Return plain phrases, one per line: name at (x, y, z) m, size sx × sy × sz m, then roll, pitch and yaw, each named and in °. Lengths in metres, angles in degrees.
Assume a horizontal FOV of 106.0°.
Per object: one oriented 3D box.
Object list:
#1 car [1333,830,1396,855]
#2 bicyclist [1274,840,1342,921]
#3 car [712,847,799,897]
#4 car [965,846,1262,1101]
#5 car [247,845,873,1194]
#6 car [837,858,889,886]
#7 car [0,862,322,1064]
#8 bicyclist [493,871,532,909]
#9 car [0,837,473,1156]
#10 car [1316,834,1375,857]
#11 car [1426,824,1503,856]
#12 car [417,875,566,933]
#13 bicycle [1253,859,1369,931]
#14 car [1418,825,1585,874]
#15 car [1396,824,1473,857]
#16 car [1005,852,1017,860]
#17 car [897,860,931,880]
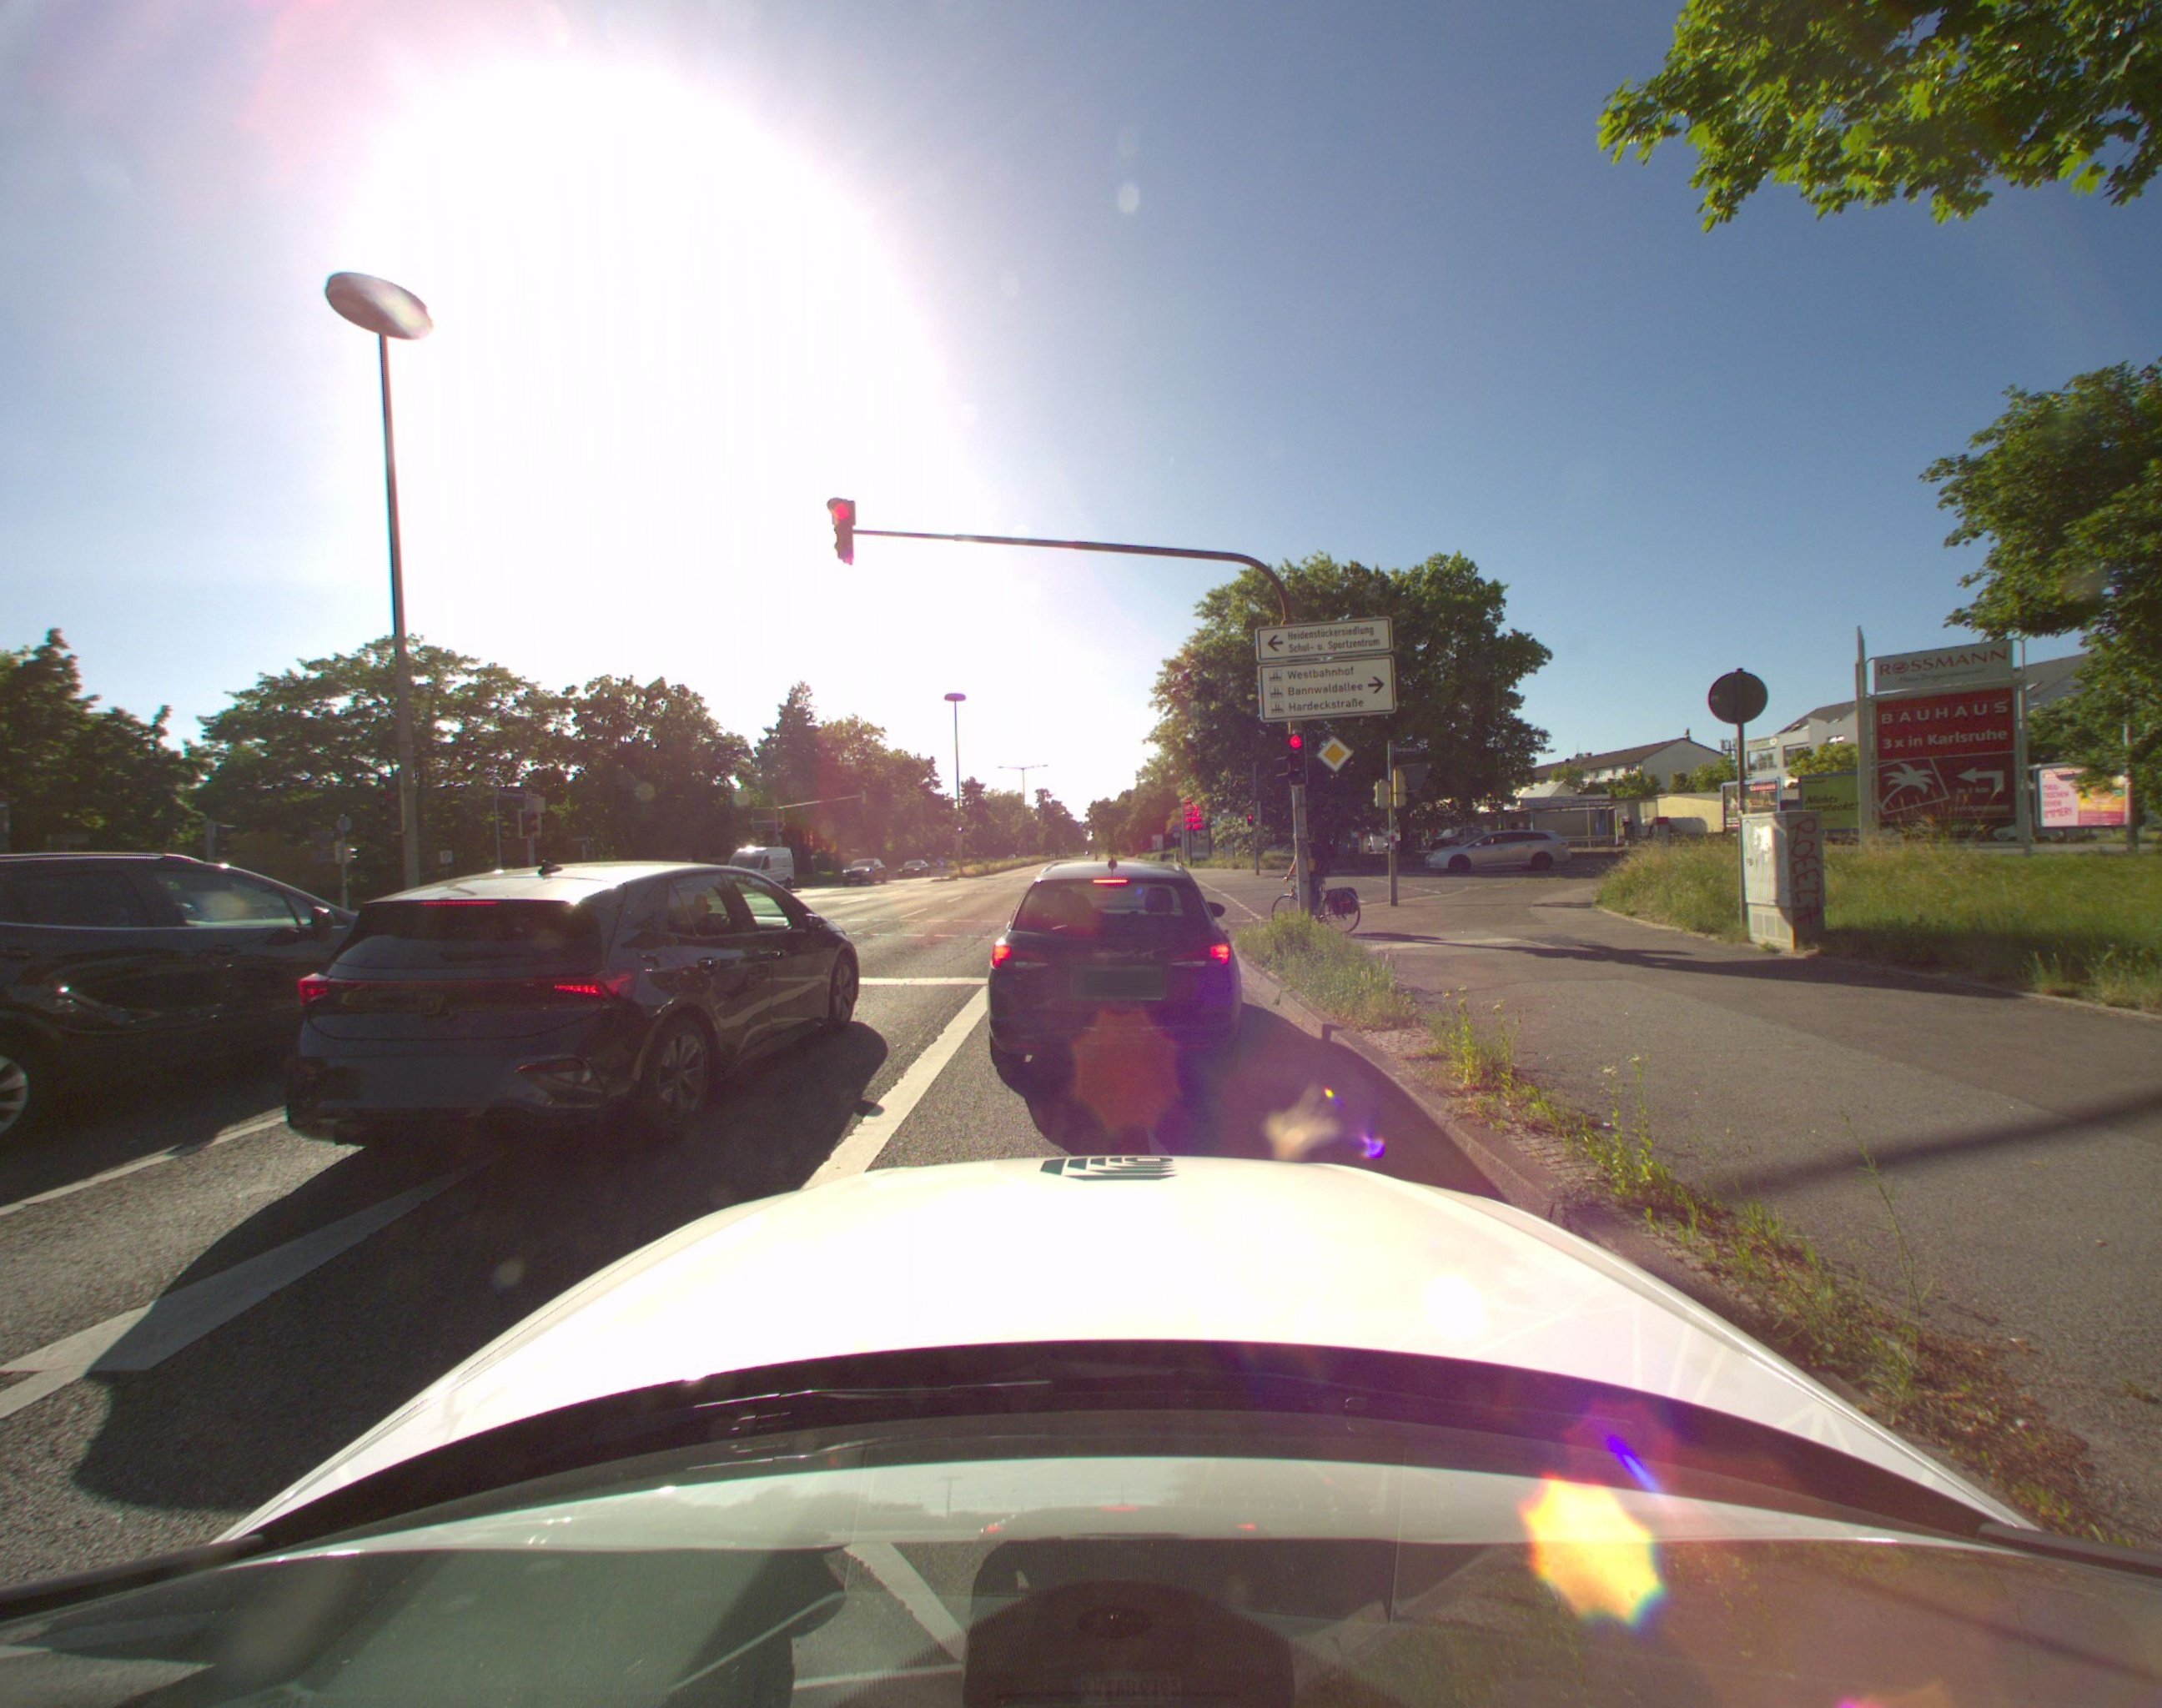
car at (19.670, -0.821, 56.441) m, size 3.903 × 1.517 × 1.733 m, roll -3°, pitch 0°, yaw -21°
bicyclist at (3.728, 0.443, 13.383) m, size 0.541 × 1.277 × 0.819 m, roll -3°, pitch -2°, yaw -42°
car at (-17.682, 0.916, 44.601) m, size 2.092 × 2.492 × 6.006 m, roll -3°, pitch 0°, yaw 2°
car at (0.259, 0.727, 6.972) m, size 1.750 × 1.495 × 4.208 m, roll -1°, pitch 0°, yaw 2°
car at (-2.949, 0.774, 5.863) m, size 1.678 × 1.580 × 4.208 m, roll -1°, pitch 0°, yaw 2°
car at (-14.077, 1.127, 52.849) m, size 1.986 × 1.601 × 4.617 m, roll -3°, pitch 0°, yaw 2°
car at (-10.213, 0.990, 7.928) m, size 1.824 × 1.702 × 3.999 m, roll -3°, pitch 0°, yaw 0°
bicyclist at (-25.763, 1.616, 36.949) m, size 0.874 × 1.648 × 1.198 m, roll -3°, pitch 0°, yaw -3°
car at (-6.609, 0.790, 5.526) m, size 1.798 × 1.689 × 4.002 m, roll -3°, pitch 0°, yaw 2°
car at (19.335, -0.613, 59.534) m, size 3.903 × 1.517 × 1.733 m, roll -3°, pitch 0°, yaw -21°
car at (22.385, -0.813, 47.534) m, size 4.002 × 1.680 × 1.733 m, roll -3°, pitch 0°, yaw -21°
car at (-18.649, 1.525, 26.011) m, size 1.680 × 1.509 × 4.005 m, roll -3°, pitch 0°, yaw 2°
bicycle at (3.742, 0.689, 13.380) m, size 0.541 × 1.097 × 1.755 m, roll -3°, pitch -2°, yaw -42°
car at (14.973, -0.165, 29.301) m, size 4.969 × 1.486 × 2.007 m, roll -2°, pitch 0°, yaw 13°
car at (21.429, -0.825, 49.392) m, size 4.003 × 1.750 × 1.985 m, roll -3°, pitch 0°, yaw -22°
car at (-14.959, 0.483, 173.659) m, size 1.986 × 1.530 × 4.001 m, roll -3°, pitch 0°, yaw 1°
car at (-13.815, 1.306, 67.541) m, size 1.769 × 1.463 × 4.166 m, roll -3°, pitch 0°, yaw 2°
